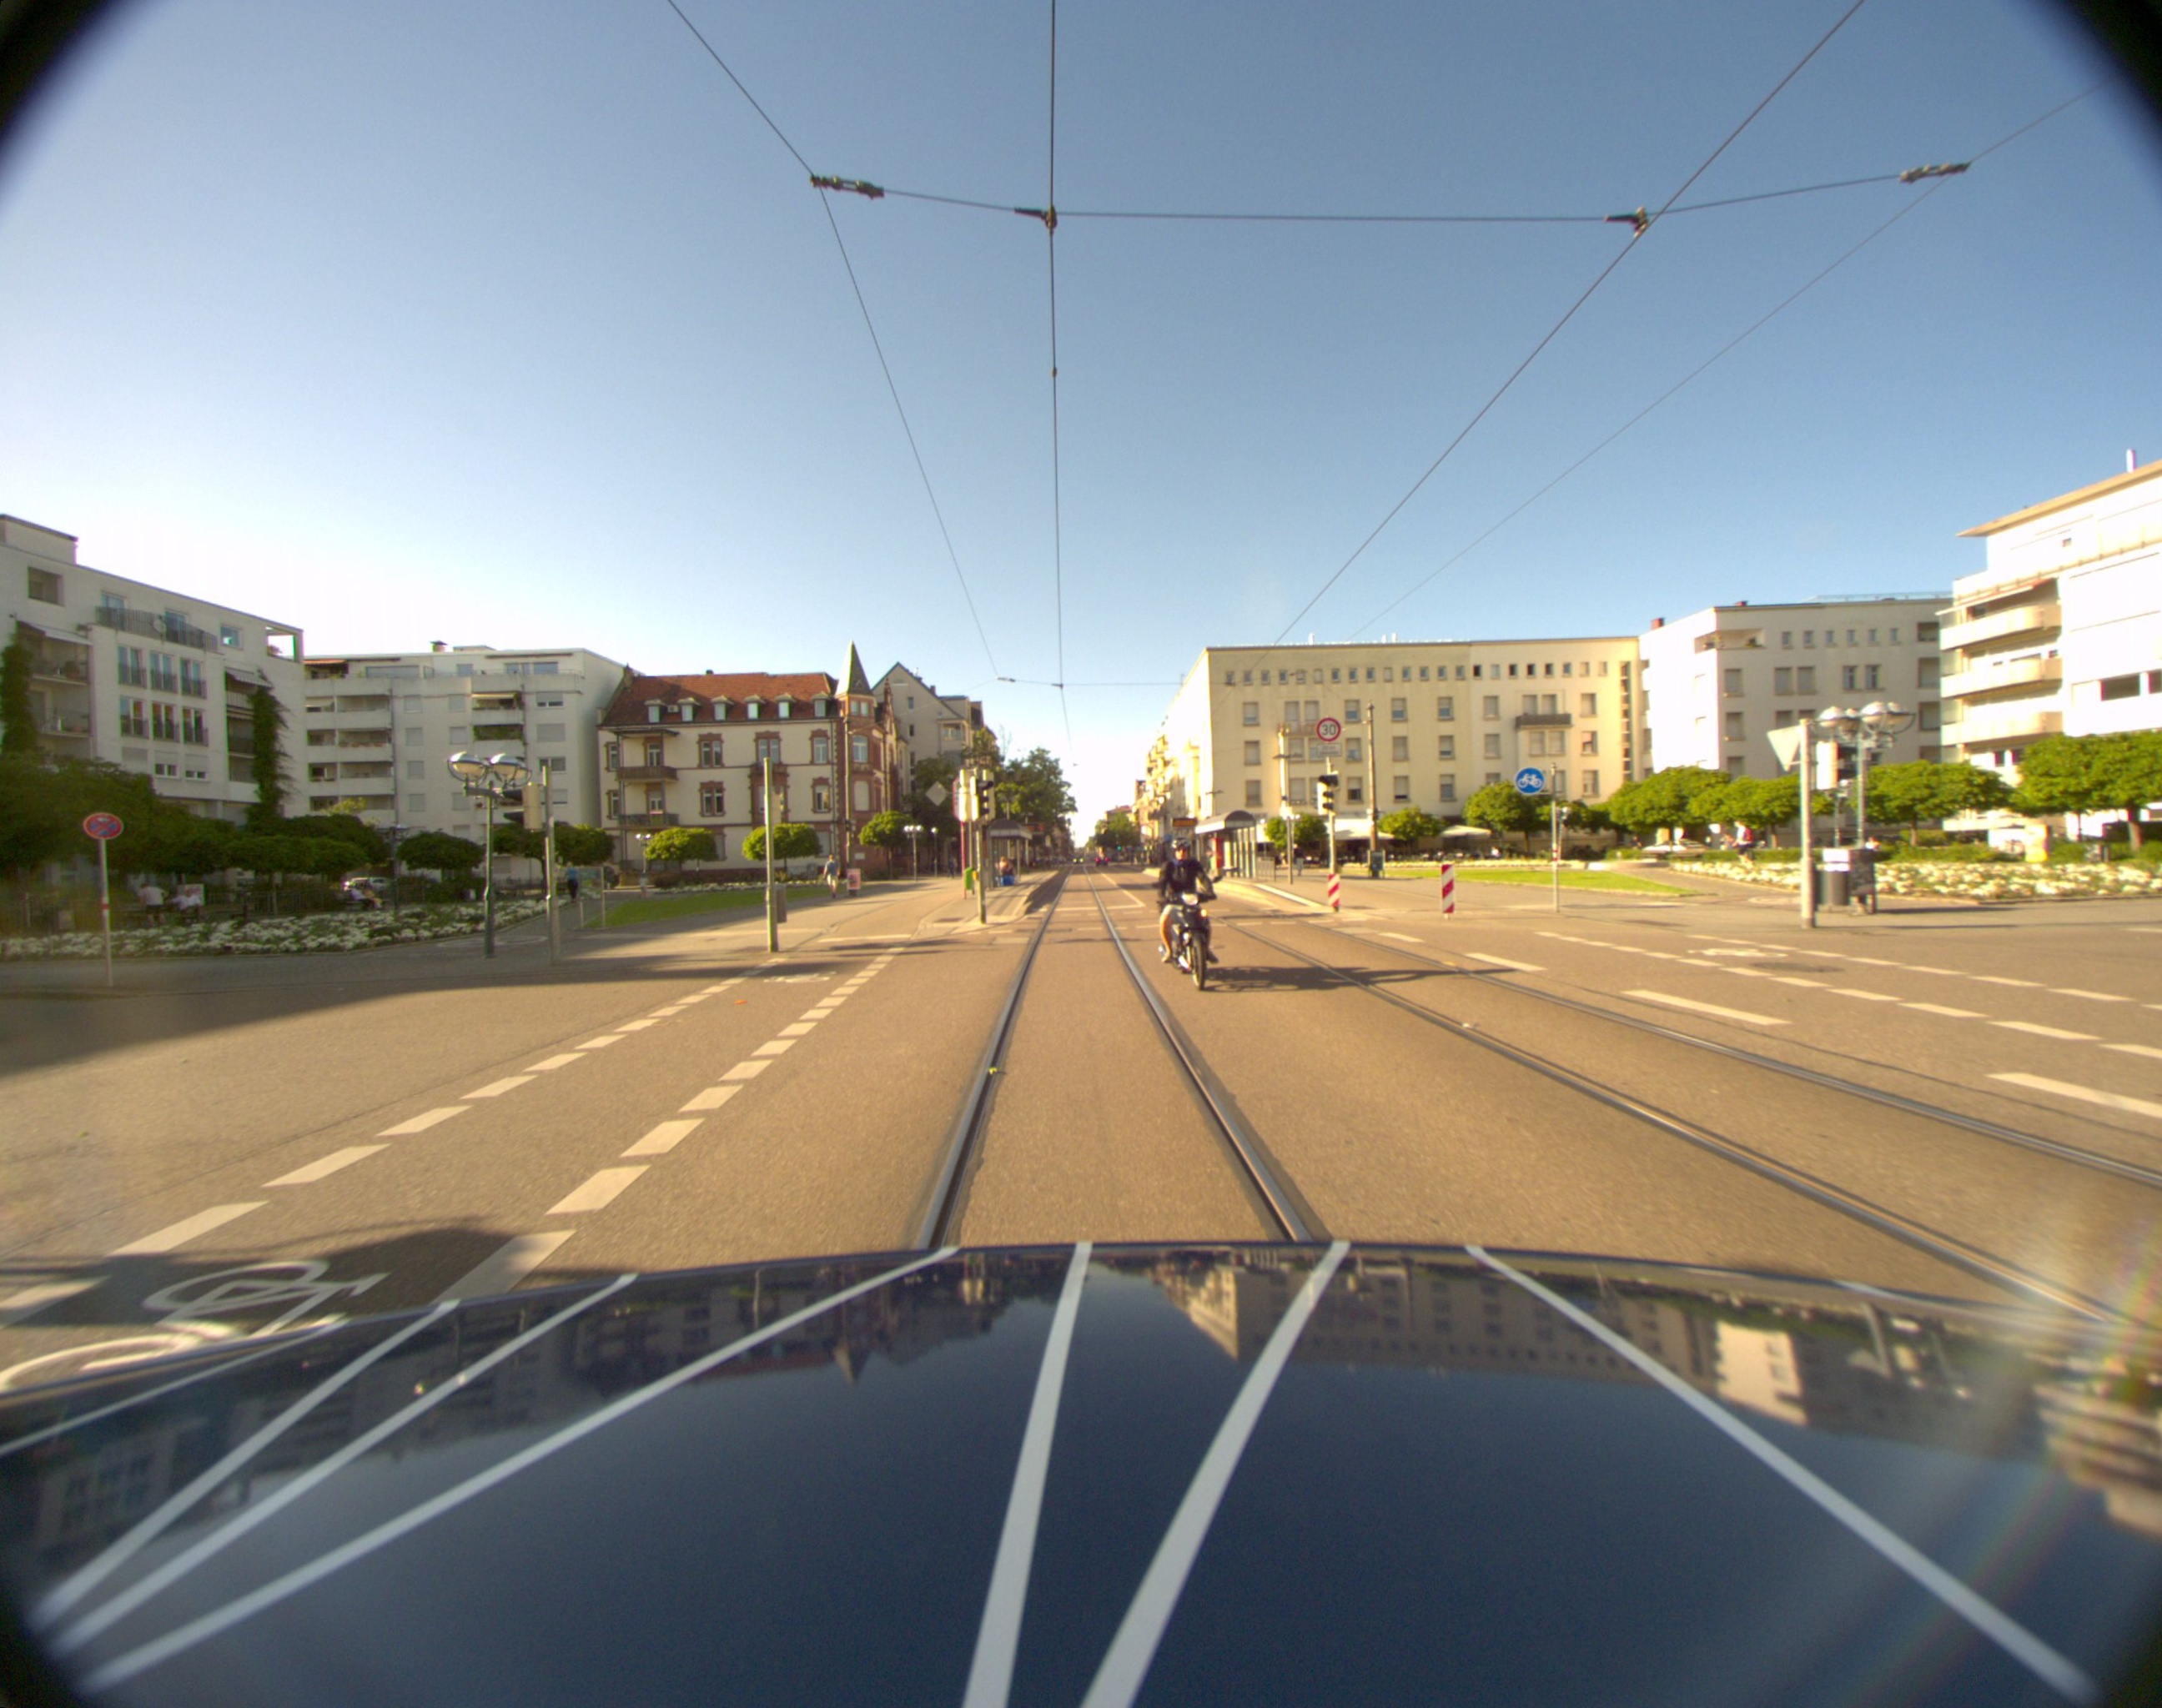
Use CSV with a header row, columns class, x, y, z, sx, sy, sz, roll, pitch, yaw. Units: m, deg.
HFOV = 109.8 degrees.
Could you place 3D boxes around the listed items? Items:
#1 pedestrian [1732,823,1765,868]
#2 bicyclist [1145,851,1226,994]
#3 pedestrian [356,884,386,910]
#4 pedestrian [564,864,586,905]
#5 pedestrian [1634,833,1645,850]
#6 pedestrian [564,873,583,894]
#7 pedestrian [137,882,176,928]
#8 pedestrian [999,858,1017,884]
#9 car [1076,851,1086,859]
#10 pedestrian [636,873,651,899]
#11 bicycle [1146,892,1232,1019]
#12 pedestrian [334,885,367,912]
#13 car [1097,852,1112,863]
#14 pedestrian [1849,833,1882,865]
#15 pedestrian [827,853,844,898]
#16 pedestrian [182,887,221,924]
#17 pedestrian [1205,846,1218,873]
class,x,y,z,sx,sy,sz,roll,pitch,yaw
pedestrian,25.622,-0.328,29.177,0.669,1.686,0.837,-3,1,-41
bicyclist,1.177,0.744,8.737,0.774,1.531,0.939,-2,1,1
pedestrian,-32.058,1.934,34.323,0.717,1.144,0.637,-2,1,-8
pedestrian,-20.166,1.199,30.277,0.650,1.592,0.700,-2,1,-35
pedestrian,40.031,-0.899,54.429,0.506,1.215,0.395,-2,1,6
pedestrian,-32.362,1.858,48.448,0.710,1.285,0.679,-2,1,-2
pedestrian,-31.656,1.740,26.029,0.561,1.534,0.554,-2,1,-10
pedestrian,-3.396,0.782,35.389,0.774,1.197,0.610,-2,1,-8
car,0.049,0.230,149.147,1.971,1.577,4.000,-2,0,0
pedestrian,-18.735,1.368,32.506,0.453,1.076,0.449,-2,1,-40
bicycle,1.182,1.087,8.659,0.767,1.191,1.752,-2,1,2
pedestrian,-32.272,1.951,33.564,0.768,1.144,0.637,-2,1,-8
car,3.393,0.484,109.822,1.970,1.577,4.000,-2,0,2
pedestrian,35.444,-0.231,34.335,0.838,1.410,0.667,-2,1,-2
pedestrian,-10.764,0.948,33.326,0.650,1.944,0.583,-2,1,-17
pedestrian,-31.718,1.862,27.395,0.561,1.266,0.700,-2,1,-10
pedestrian,7.303,0.329,42.601,0.551,1.482,0.610,-2,1,-6
